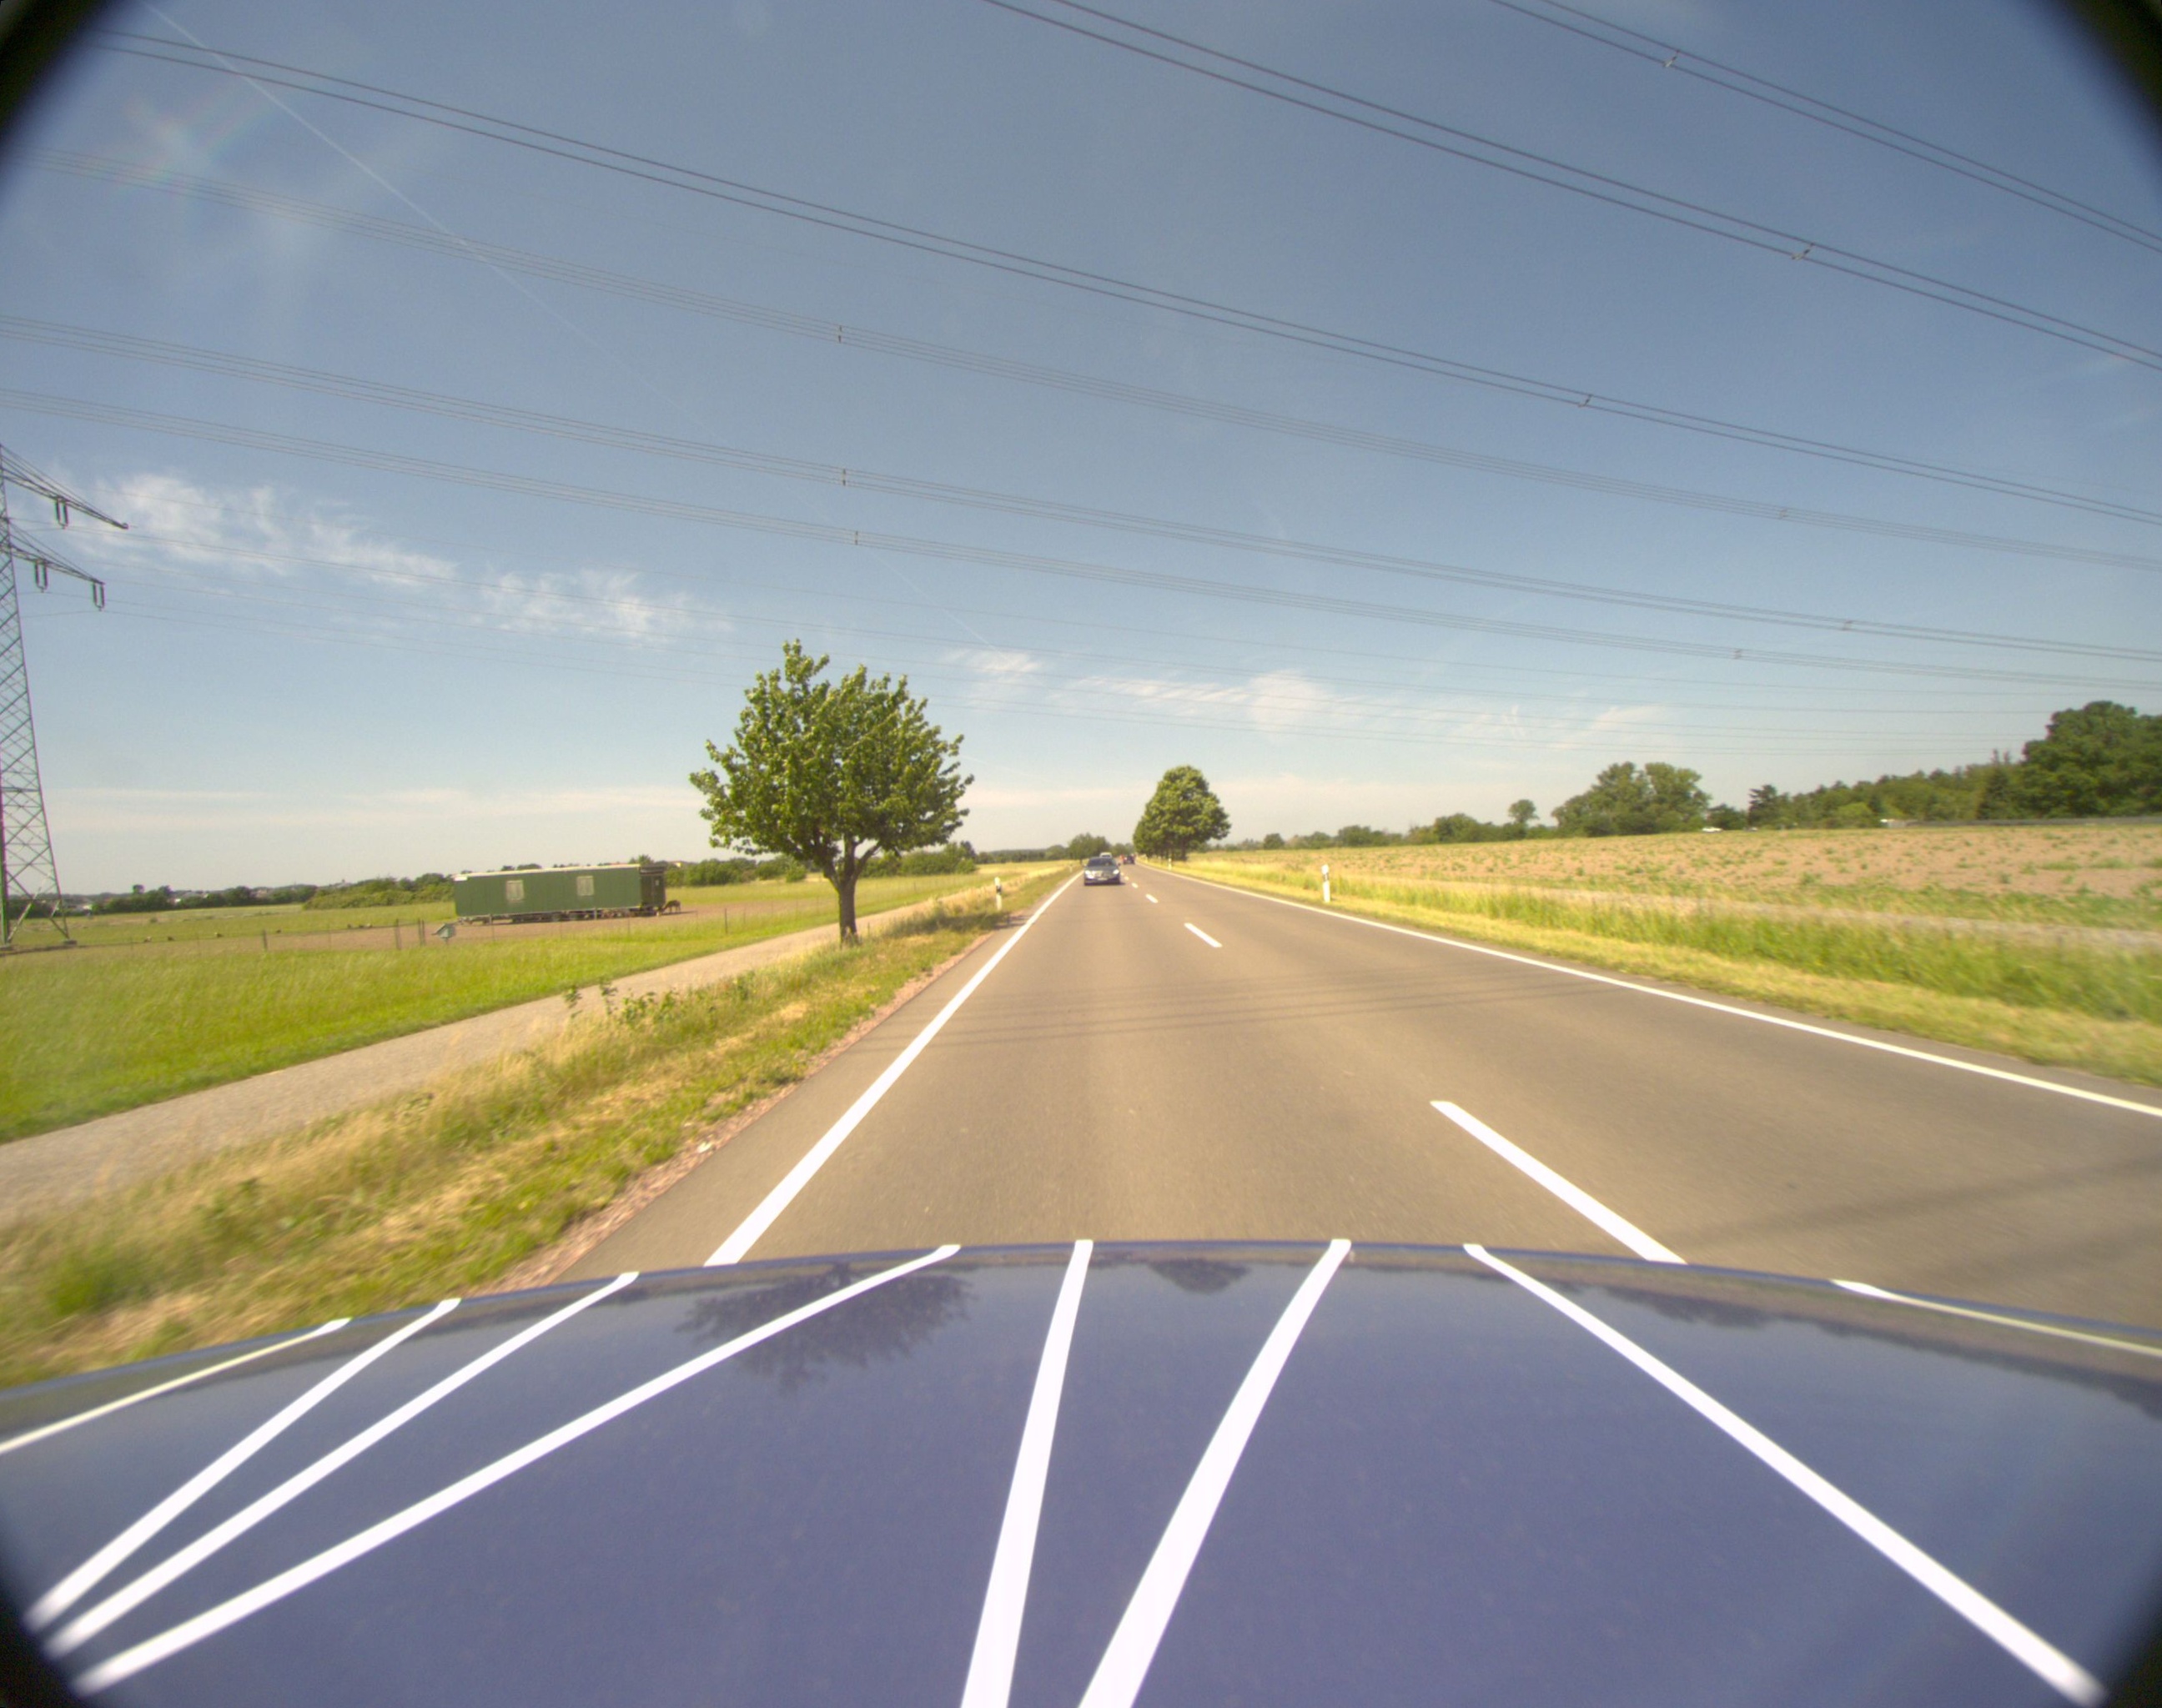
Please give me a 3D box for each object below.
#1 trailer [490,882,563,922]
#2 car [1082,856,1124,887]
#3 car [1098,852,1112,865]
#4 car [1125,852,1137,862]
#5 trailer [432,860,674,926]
[{"bbox_3d":[-38.548,3.319,52.876,3.416,2.448,2.037,-3,0,1],"label":"trailer"},{"bbox_3d":[1.040,0.823,37.656,1.954,1.391,3.999,-1,0,0],"label":"car"},{"bbox_3d":[3.835,0.706,119.862,1.998,1.907,4.207,-3,0,4],"label":"car"},{"bbox_3d":[7.838,0.492,118.423,1.738,1.439,4.000,-2,1,3],"label":"car"},{"bbox_3d":[-34.519,2.493,49.985,13.543,3.455,3.276,-3,0,1],"label":"trailer"}]
